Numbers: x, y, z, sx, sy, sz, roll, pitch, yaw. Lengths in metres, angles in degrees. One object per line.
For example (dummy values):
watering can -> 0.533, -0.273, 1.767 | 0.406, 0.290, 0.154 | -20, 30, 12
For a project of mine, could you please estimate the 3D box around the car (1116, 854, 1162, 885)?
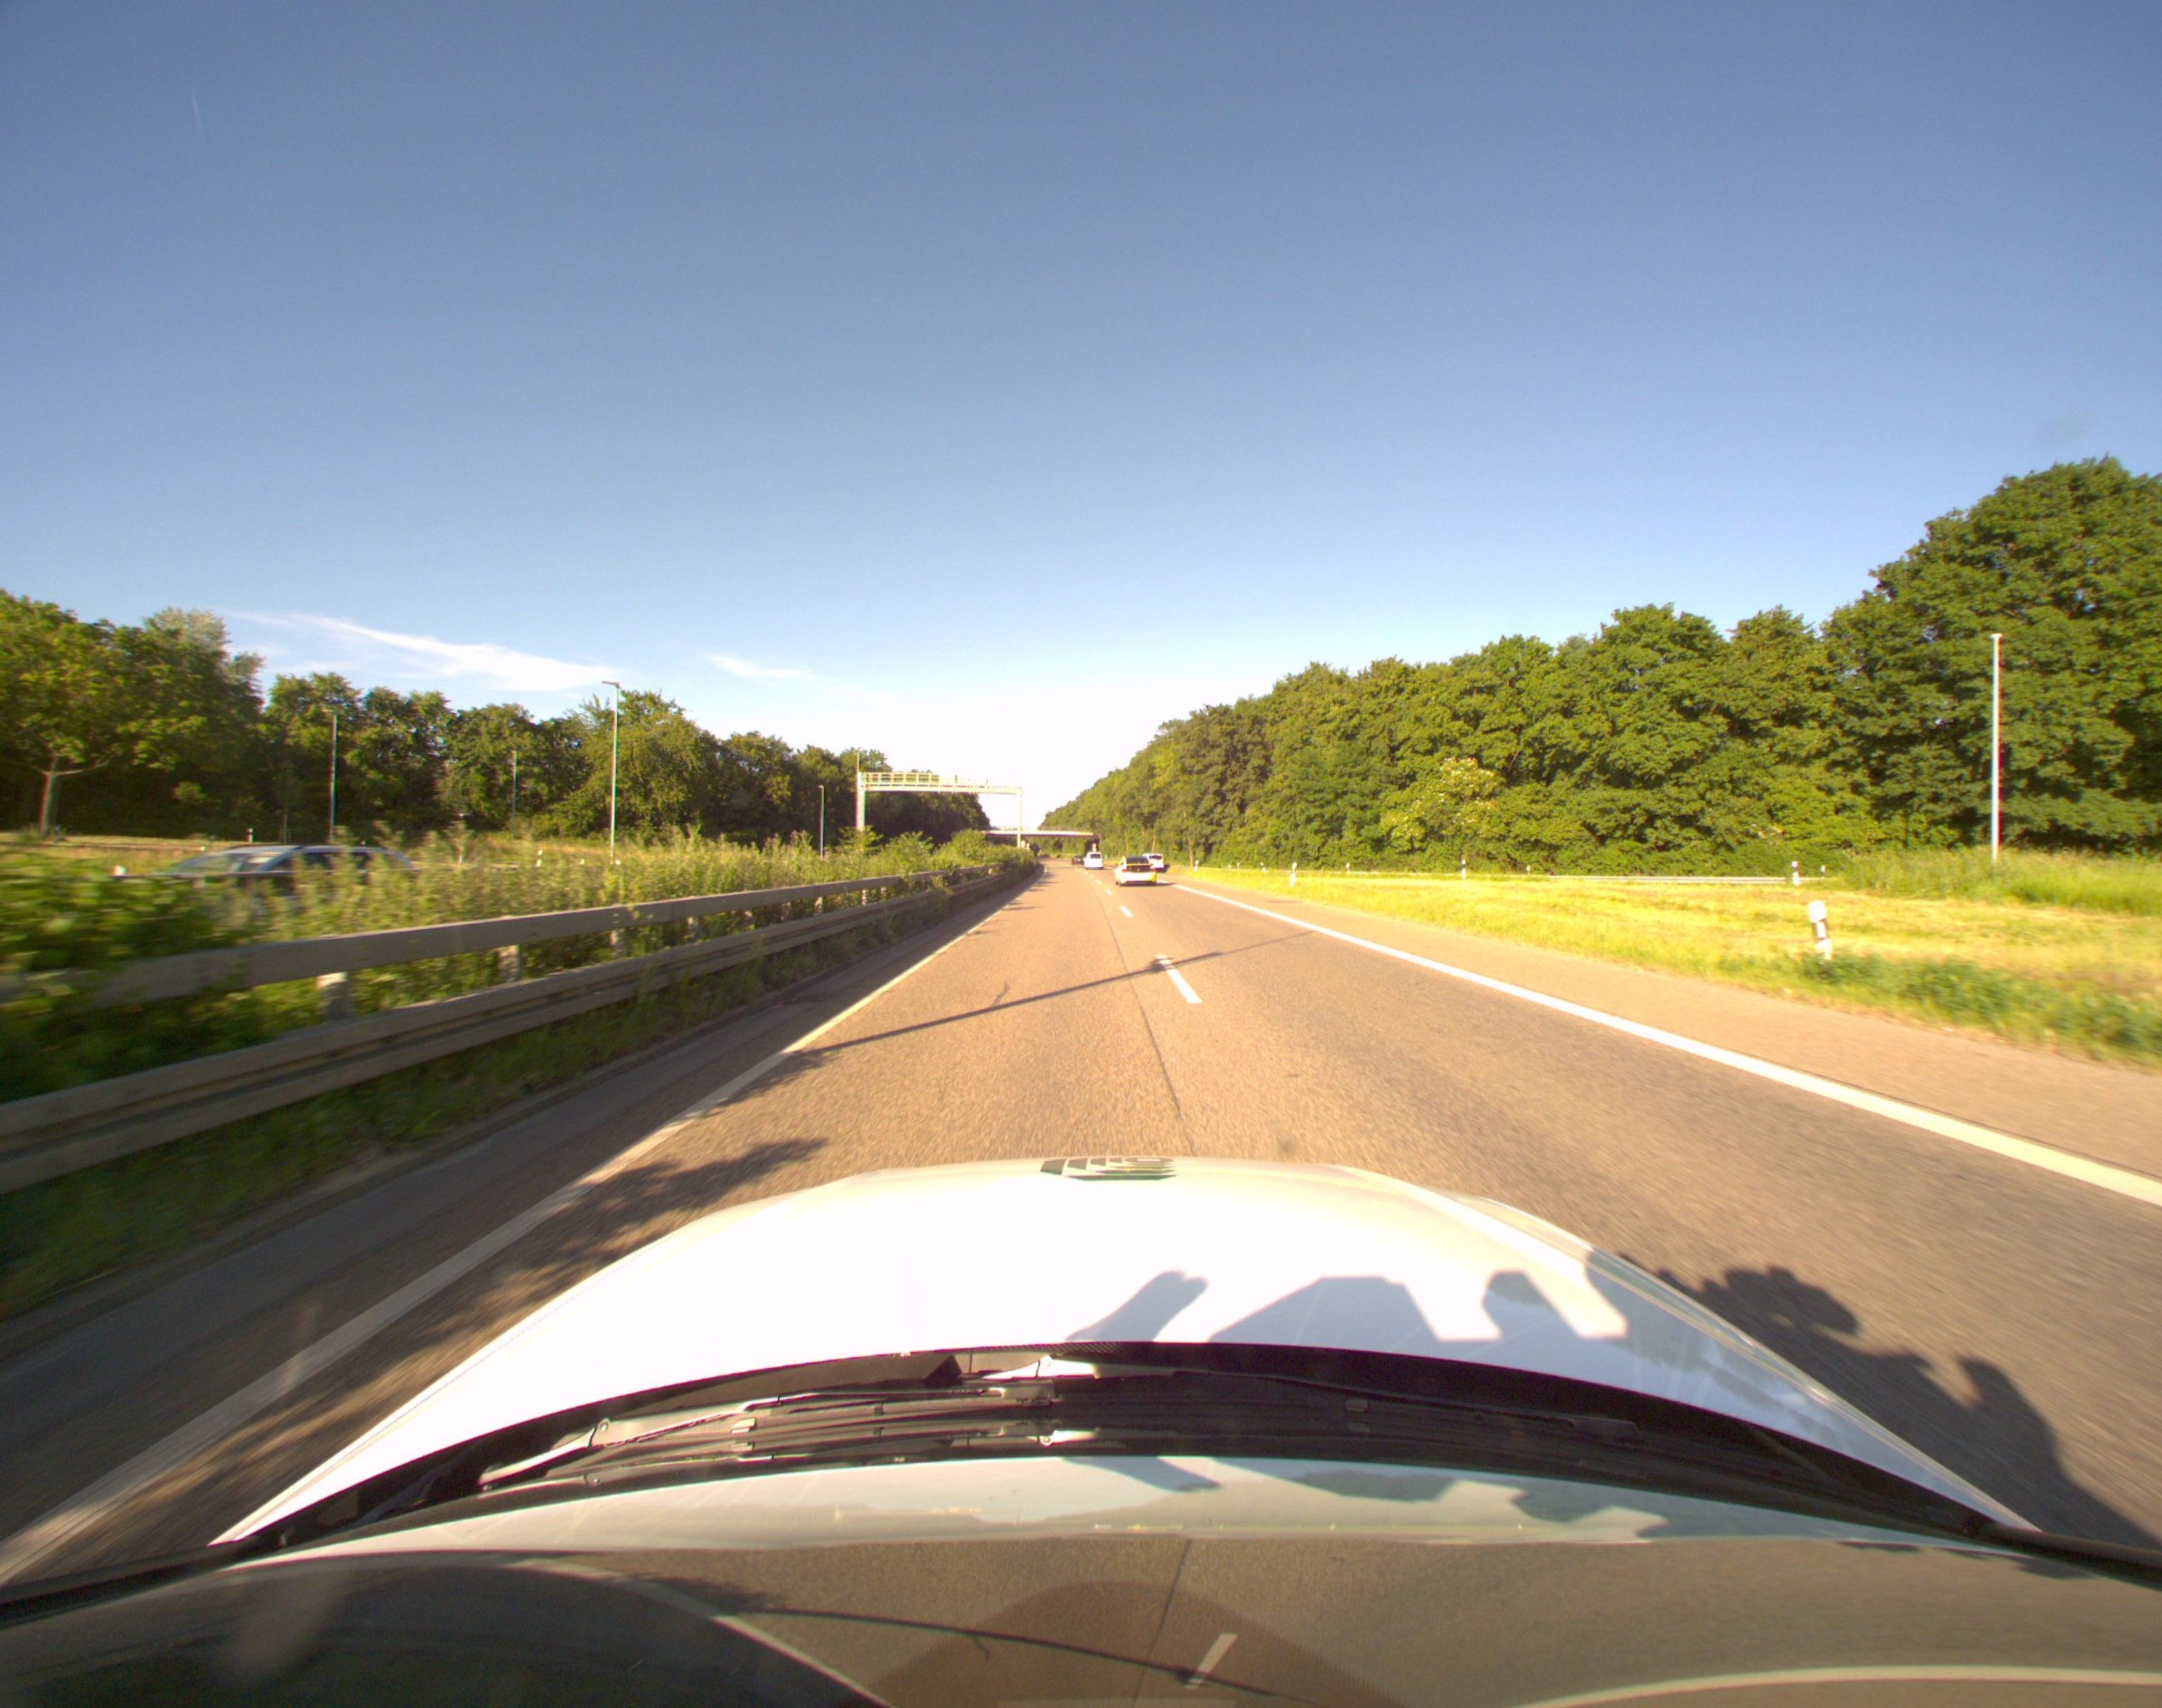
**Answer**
car -> 2.804, 0.741, 40.375 | 1.892, 1.471, 3.997 | -1, 0, -2

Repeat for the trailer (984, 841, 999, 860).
trailer -> -20.023, -0.802, 183.195 | 2.733, 4.027, 14.055 | 1, 0, -4

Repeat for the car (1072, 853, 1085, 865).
car -> -0.343, 0.721, 121.391 | 1.891, 1.767, 3.998 | -1, 0, -1

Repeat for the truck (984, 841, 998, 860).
truck -> -19.572, -0.827, 176.839 | 2.733, 4.027, 6.171 | 1, 0, -4

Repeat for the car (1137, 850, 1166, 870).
car -> 6.780, 0.573, 78.546 | 1.897, 1.824, 3.987 | -1, 0, -9

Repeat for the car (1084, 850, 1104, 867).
car -> 1.337, 0.474, 84.716 | 1.892, 1.767, 3.997 | -1, 0, -2

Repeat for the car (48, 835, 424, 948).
car -> -13.260, 0.518, 13.220 | 1.834, 1.561, 4.002 | 0, 0, 2
